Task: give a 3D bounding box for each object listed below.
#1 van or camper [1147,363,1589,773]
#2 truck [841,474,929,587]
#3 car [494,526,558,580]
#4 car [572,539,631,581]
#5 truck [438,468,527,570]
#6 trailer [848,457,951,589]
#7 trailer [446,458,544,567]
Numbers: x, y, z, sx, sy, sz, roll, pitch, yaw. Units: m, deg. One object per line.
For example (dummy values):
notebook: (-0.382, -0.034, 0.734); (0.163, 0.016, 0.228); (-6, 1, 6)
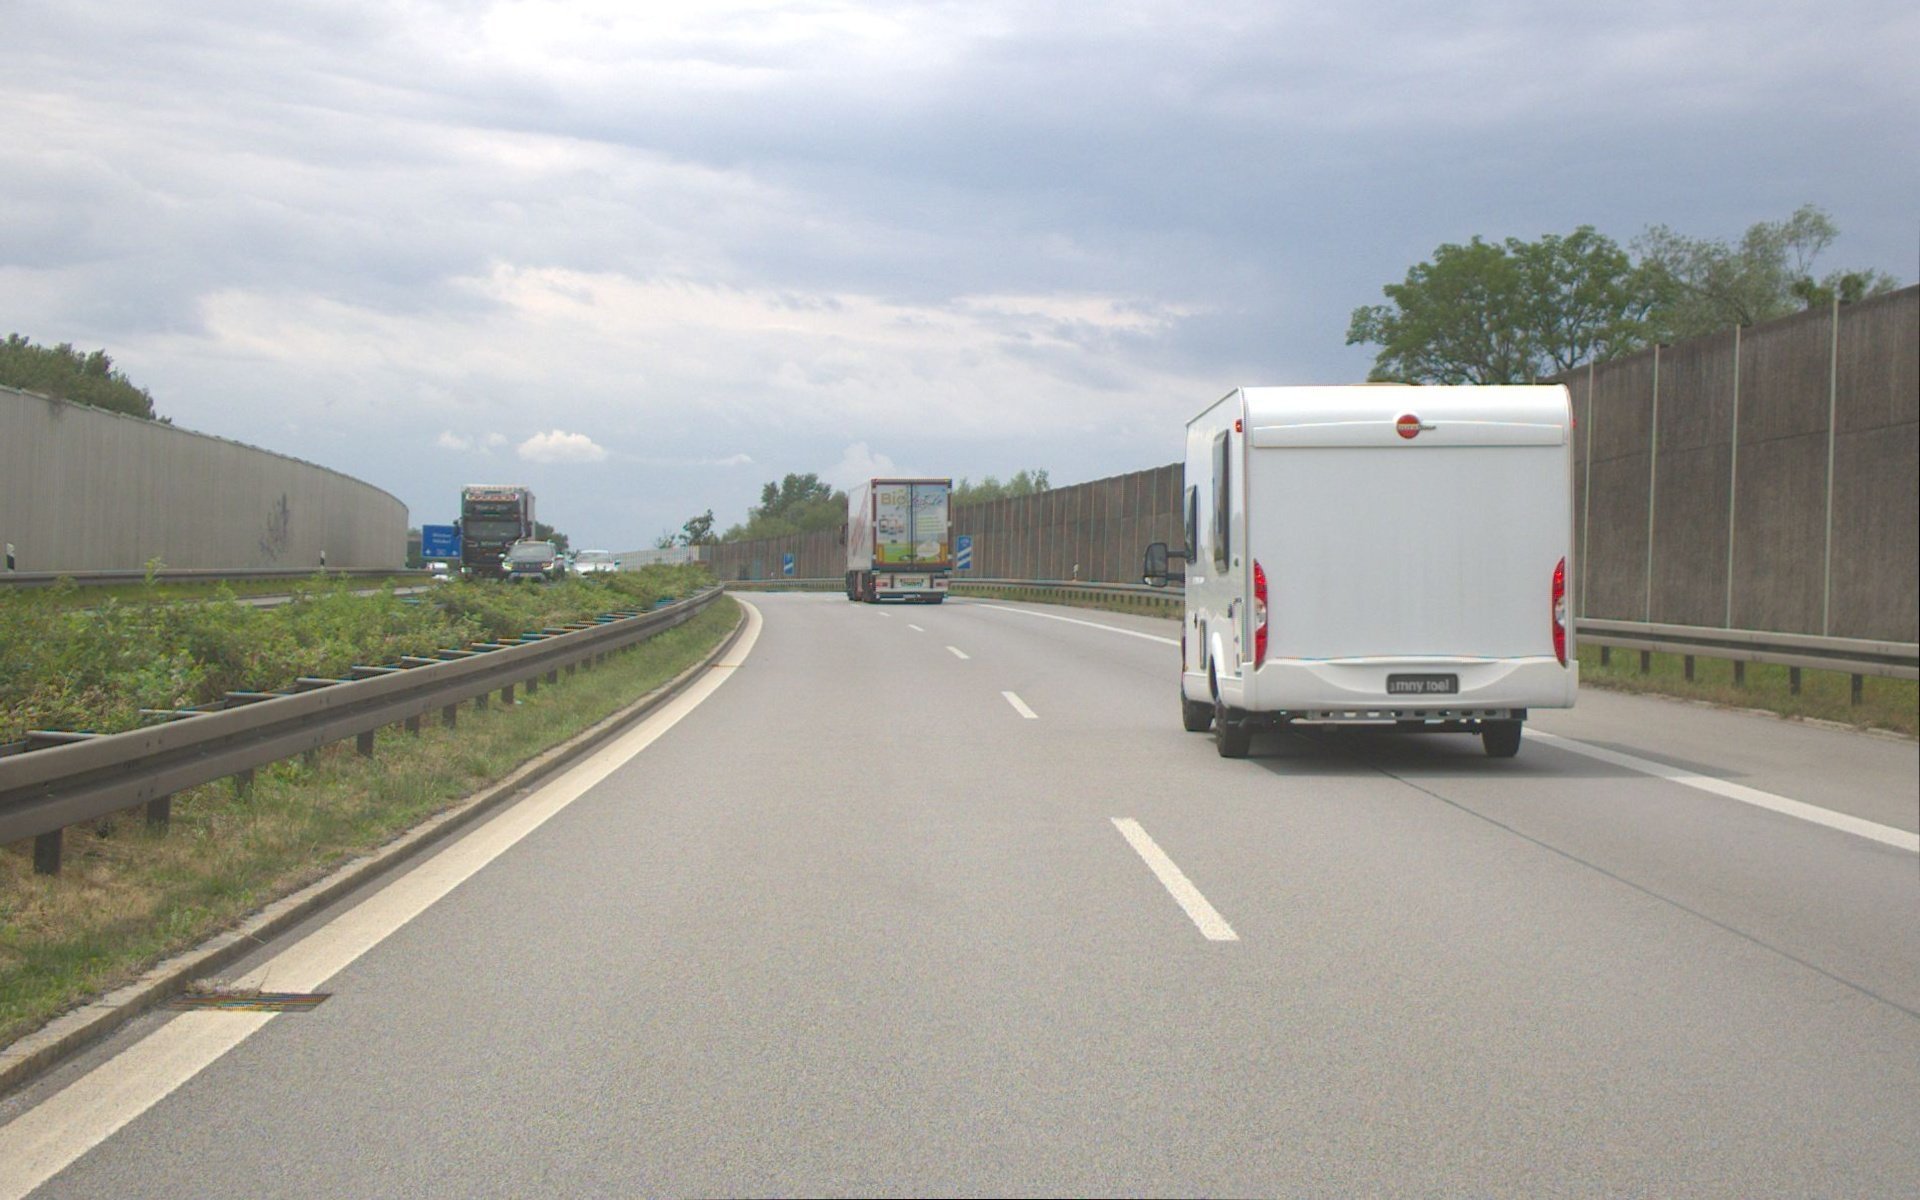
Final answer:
van or camper: (2.913, -0.262, 26.498); (2.429, 2.687, 7.226); (1, 1, -1)
truck: (-2.723, -2.441, 123.362); (2.755, 3.946, 5.678); (0, 0, -5)
car: (-13.618, -1.495, 108.143); (1.715, 1.636, 4.705); (1, 1, -4)
car: (-13.690, -1.531, 131.450); (1.931, 1.543, 4.567); (1, 1, -2)
truck: (-18.608, -3.145, 134.287); (2.873, 3.845, 6.075); (1, 1, -3)
trailer: (-2.158, -2.489, 116.856); (2.792, 4.160, 14.105); (0, 0, -4)
trailer: (-19.003, -3.514, 141.309); (2.981, 4.225, 14.181); (0, 1, -4)
